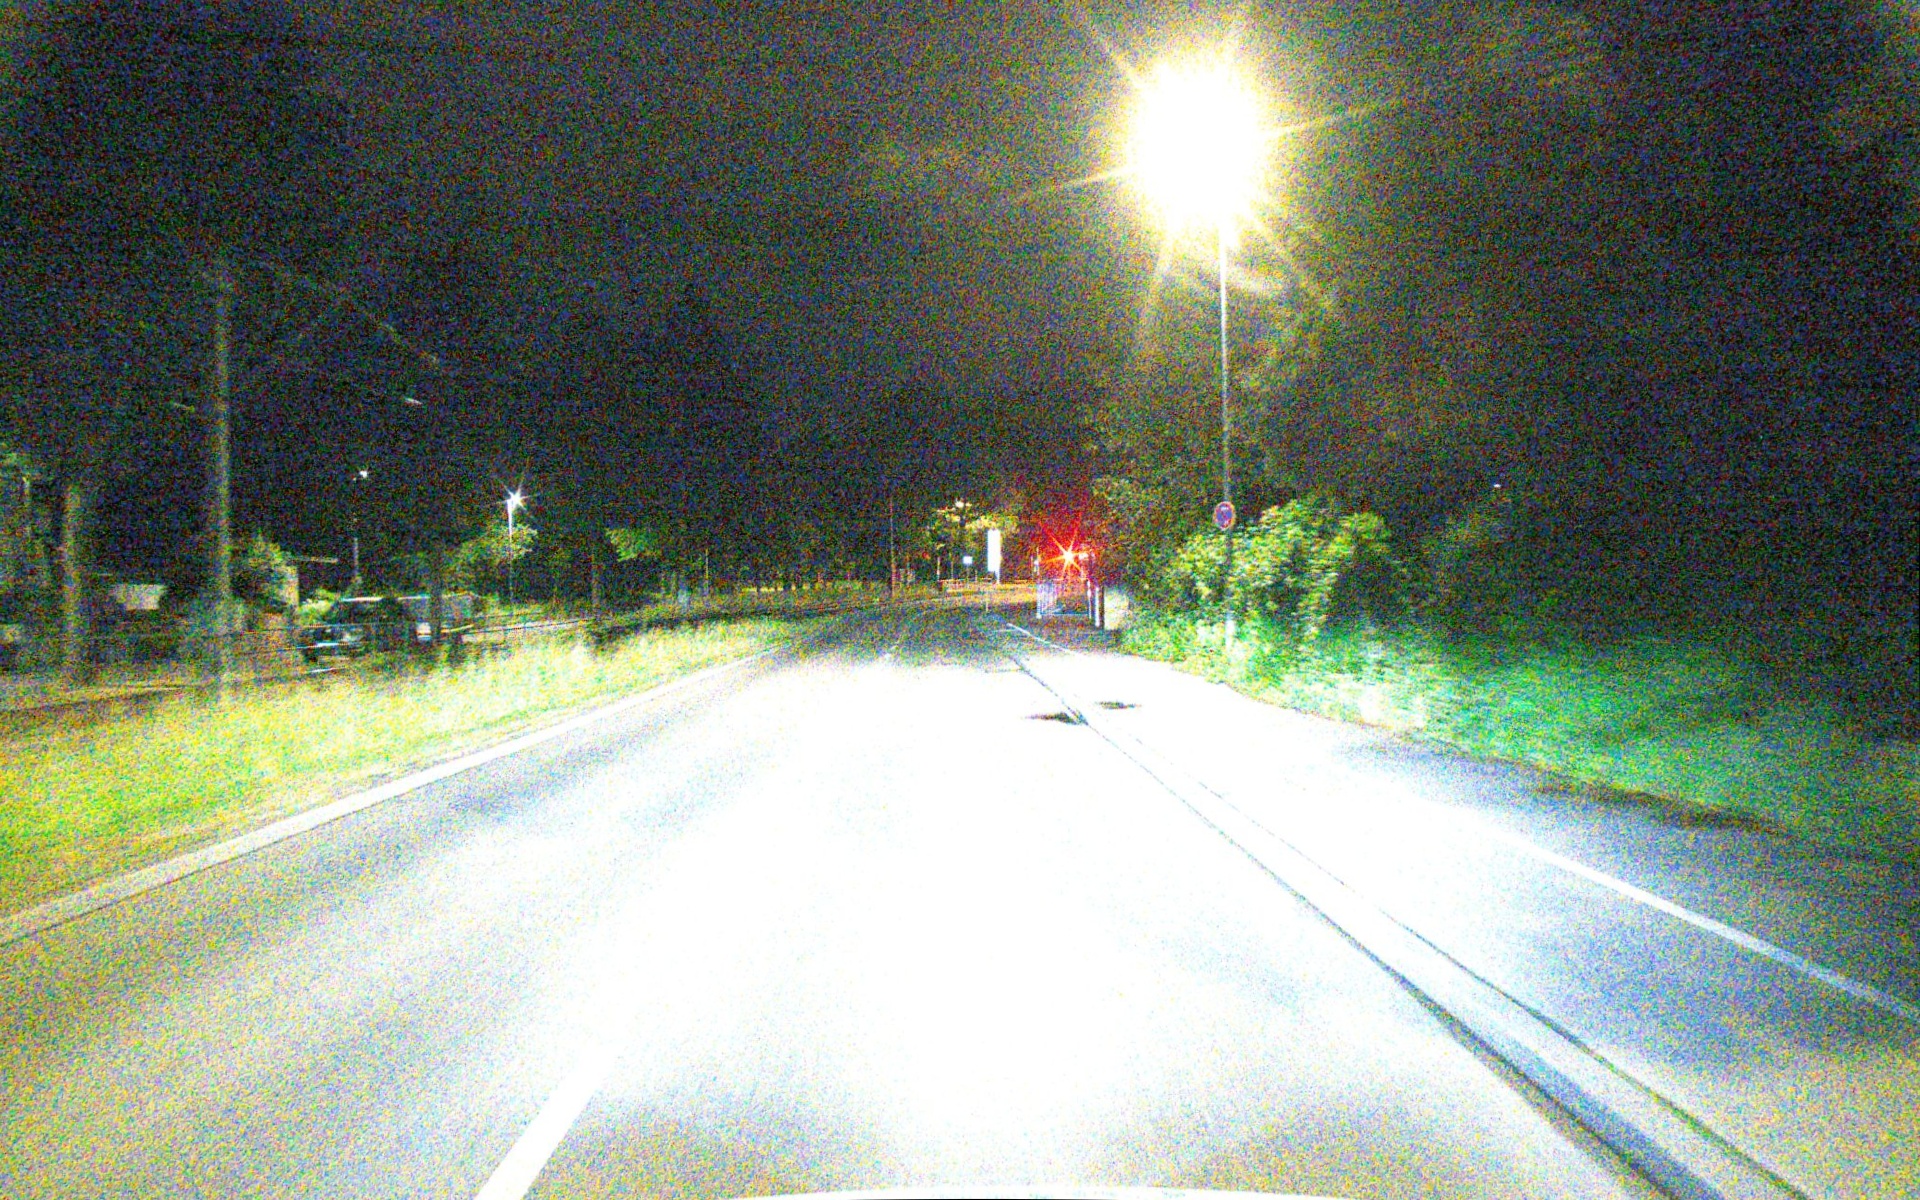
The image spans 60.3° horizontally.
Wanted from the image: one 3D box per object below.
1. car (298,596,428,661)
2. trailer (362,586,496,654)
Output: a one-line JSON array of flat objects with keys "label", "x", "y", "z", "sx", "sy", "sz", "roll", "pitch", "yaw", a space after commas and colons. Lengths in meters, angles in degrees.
[{"label": "car", "x": -15.870, "y": 0.717, "z": 44.214, "sx": 1.681, "sy": 1.604, "sz": 4.536, "roll": -2, "pitch": 0, "yaw": 2}, {"label": "trailer", "x": -15.734, "y": 0.552, "z": 49.366, "sx": 1.983, "sy": 1.811, "sz": 5.675, "roll": -3, "pitch": 0, "yaw": 1}]
